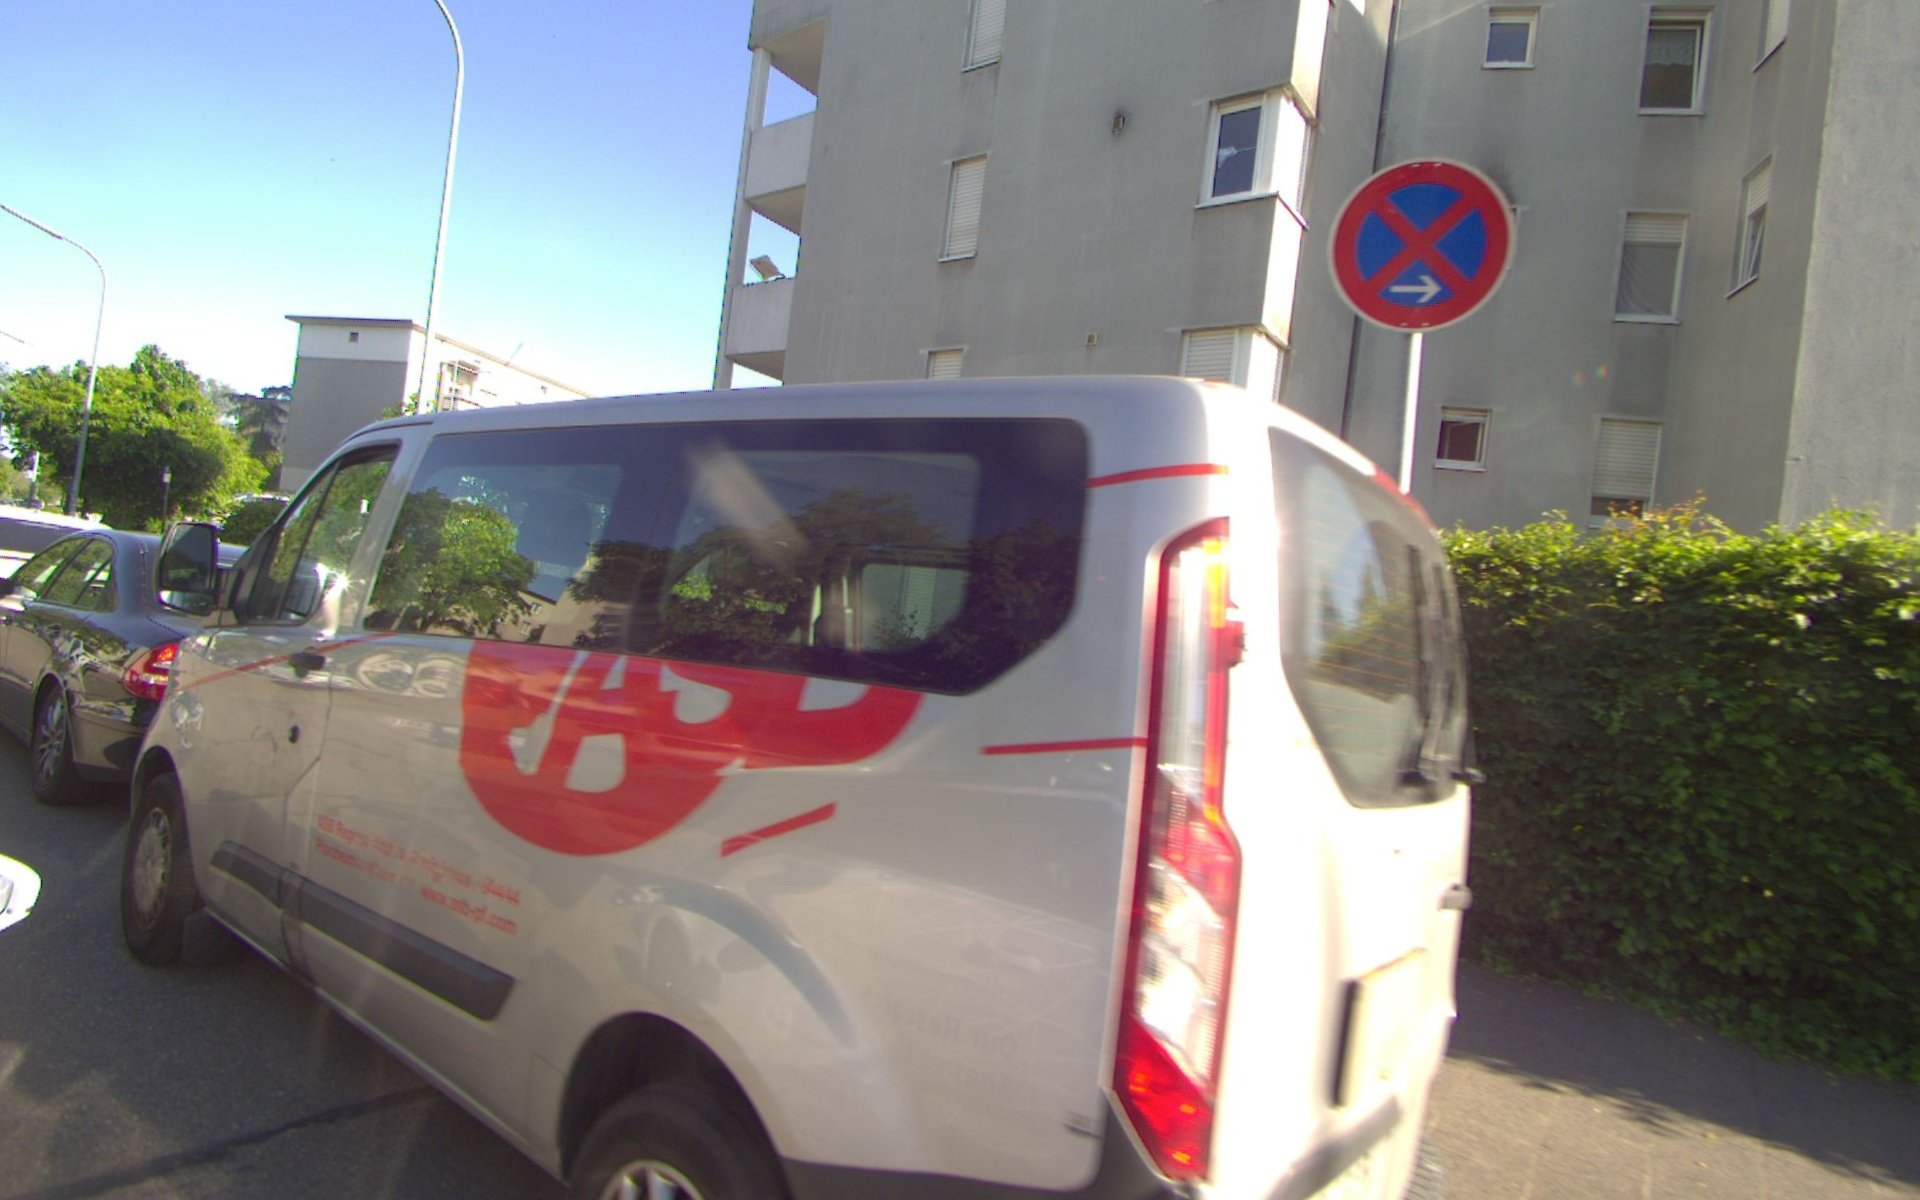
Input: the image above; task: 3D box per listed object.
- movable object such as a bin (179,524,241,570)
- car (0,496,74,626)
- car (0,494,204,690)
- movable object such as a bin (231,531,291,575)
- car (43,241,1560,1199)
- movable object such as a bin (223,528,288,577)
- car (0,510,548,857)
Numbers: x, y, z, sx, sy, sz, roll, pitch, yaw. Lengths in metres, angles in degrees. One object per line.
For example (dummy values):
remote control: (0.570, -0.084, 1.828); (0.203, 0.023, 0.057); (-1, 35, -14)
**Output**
movable object such as a bin: (-25.156, -1.786, 33.733); (1.408, 1.321, 1.365); (7, -1, -44)
car: (-13.432, -0.704, 13.188); (4.310, 1.506, 1.909); (6, -1, 39)
car: (-9.027, -0.227, 9.492); (4.310, 1.506, 1.909); (6, -1, 39)
movable object such as a bin: (-24.134, -1.625, 34.749); (1.408, 1.321, 1.365); (7, -1, -44)
car: (-1.028, 0.459, 3.351); (4.878, 1.935, 1.994); (6, -1, 37)
movable object such as a bin: (-22.174, -1.490, 31.657); (1.408, 1.321, 1.365); (7, -1, -44)
car: (-5.095, 0.301, 6.672); (4.847, 1.434, 1.995); (6, -1, 36)
